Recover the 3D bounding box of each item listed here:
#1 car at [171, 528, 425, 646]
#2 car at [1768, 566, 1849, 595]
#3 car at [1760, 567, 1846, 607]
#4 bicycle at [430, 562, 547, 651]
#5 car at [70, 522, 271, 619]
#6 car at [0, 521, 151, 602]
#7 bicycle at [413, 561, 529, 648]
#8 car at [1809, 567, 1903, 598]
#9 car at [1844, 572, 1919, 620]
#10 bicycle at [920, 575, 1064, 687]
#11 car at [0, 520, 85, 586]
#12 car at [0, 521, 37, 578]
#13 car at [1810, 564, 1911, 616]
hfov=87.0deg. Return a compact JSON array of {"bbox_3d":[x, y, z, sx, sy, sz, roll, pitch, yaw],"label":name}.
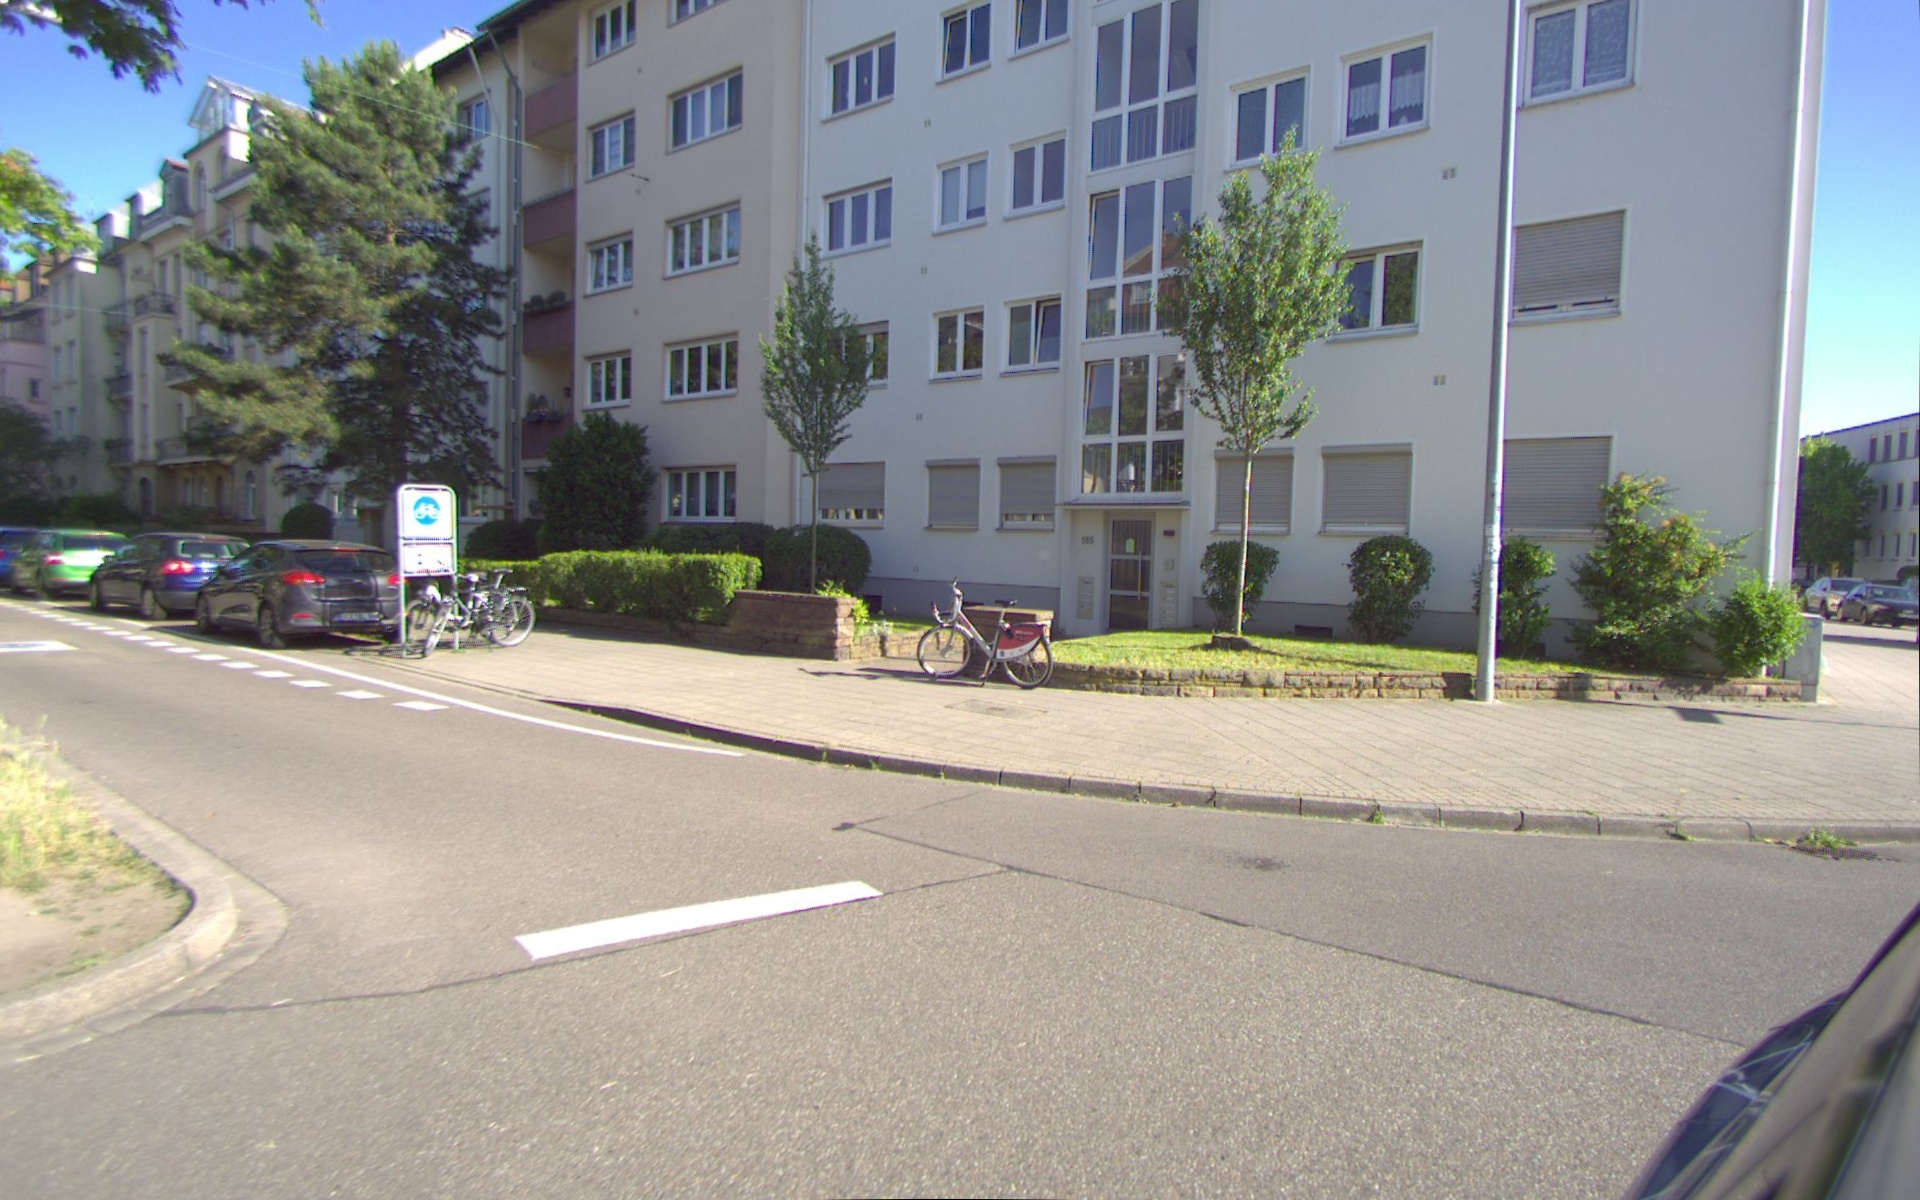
[{"bbox_3d":[-9.695,-0.258,14.734,3.977,1.429,1.809,4,3,36],"label":"car"},{"bbox_3d":[51.837,-1.245,61.959,2.111,1.633,4.810,1,3,18],"label":"car"},{"bbox_3d":[37.262,-0.607,44.833,1.741,1.470,3.969,7,5,24],"label":"car"},{"bbox_3d":[-6.310,0.057,13.620,0.328,1.069,1.433,3,6,35],"label":"bicycle"},{"bbox_3d":[-14.199,-0.571,18.145,3.975,1.503,1.763,4,3,35],"label":"car"},{"bbox_3d":[-19.107,-0.855,21.627,3.975,1.524,1.762,4,2,35],"label":"car"},{"bbox_3d":[-6.686,0.036,13.903,0.328,1.069,1.433,3,6,35],"label":"bicycle"},{"bbox_3d":[50.152,-1.019,56.802,2.111,1.633,4.810,1,3,18],"label":"car"},{"bbox_3d":[32.029,-0.141,34.514,1.743,1.411,3.964,7,5,26],"label":"car"},{"bbox_3d":[0.327,0.308,11.086,1.613,1.091,0.380,3,5,32],"label":"bicycle"},{"bbox_3d":[-23.351,-1.191,24.963,3.975,1.503,1.763,4,3,35],"label":"car"},{"bbox_3d":[-27.535,-1.460,28.274,3.975,1.503,1.763,4,3,35],"label":"car"},{"bbox_3d":[34.159,-0.437,38.526,1.743,1.661,3.963,7,5,27],"label":"car"}]
